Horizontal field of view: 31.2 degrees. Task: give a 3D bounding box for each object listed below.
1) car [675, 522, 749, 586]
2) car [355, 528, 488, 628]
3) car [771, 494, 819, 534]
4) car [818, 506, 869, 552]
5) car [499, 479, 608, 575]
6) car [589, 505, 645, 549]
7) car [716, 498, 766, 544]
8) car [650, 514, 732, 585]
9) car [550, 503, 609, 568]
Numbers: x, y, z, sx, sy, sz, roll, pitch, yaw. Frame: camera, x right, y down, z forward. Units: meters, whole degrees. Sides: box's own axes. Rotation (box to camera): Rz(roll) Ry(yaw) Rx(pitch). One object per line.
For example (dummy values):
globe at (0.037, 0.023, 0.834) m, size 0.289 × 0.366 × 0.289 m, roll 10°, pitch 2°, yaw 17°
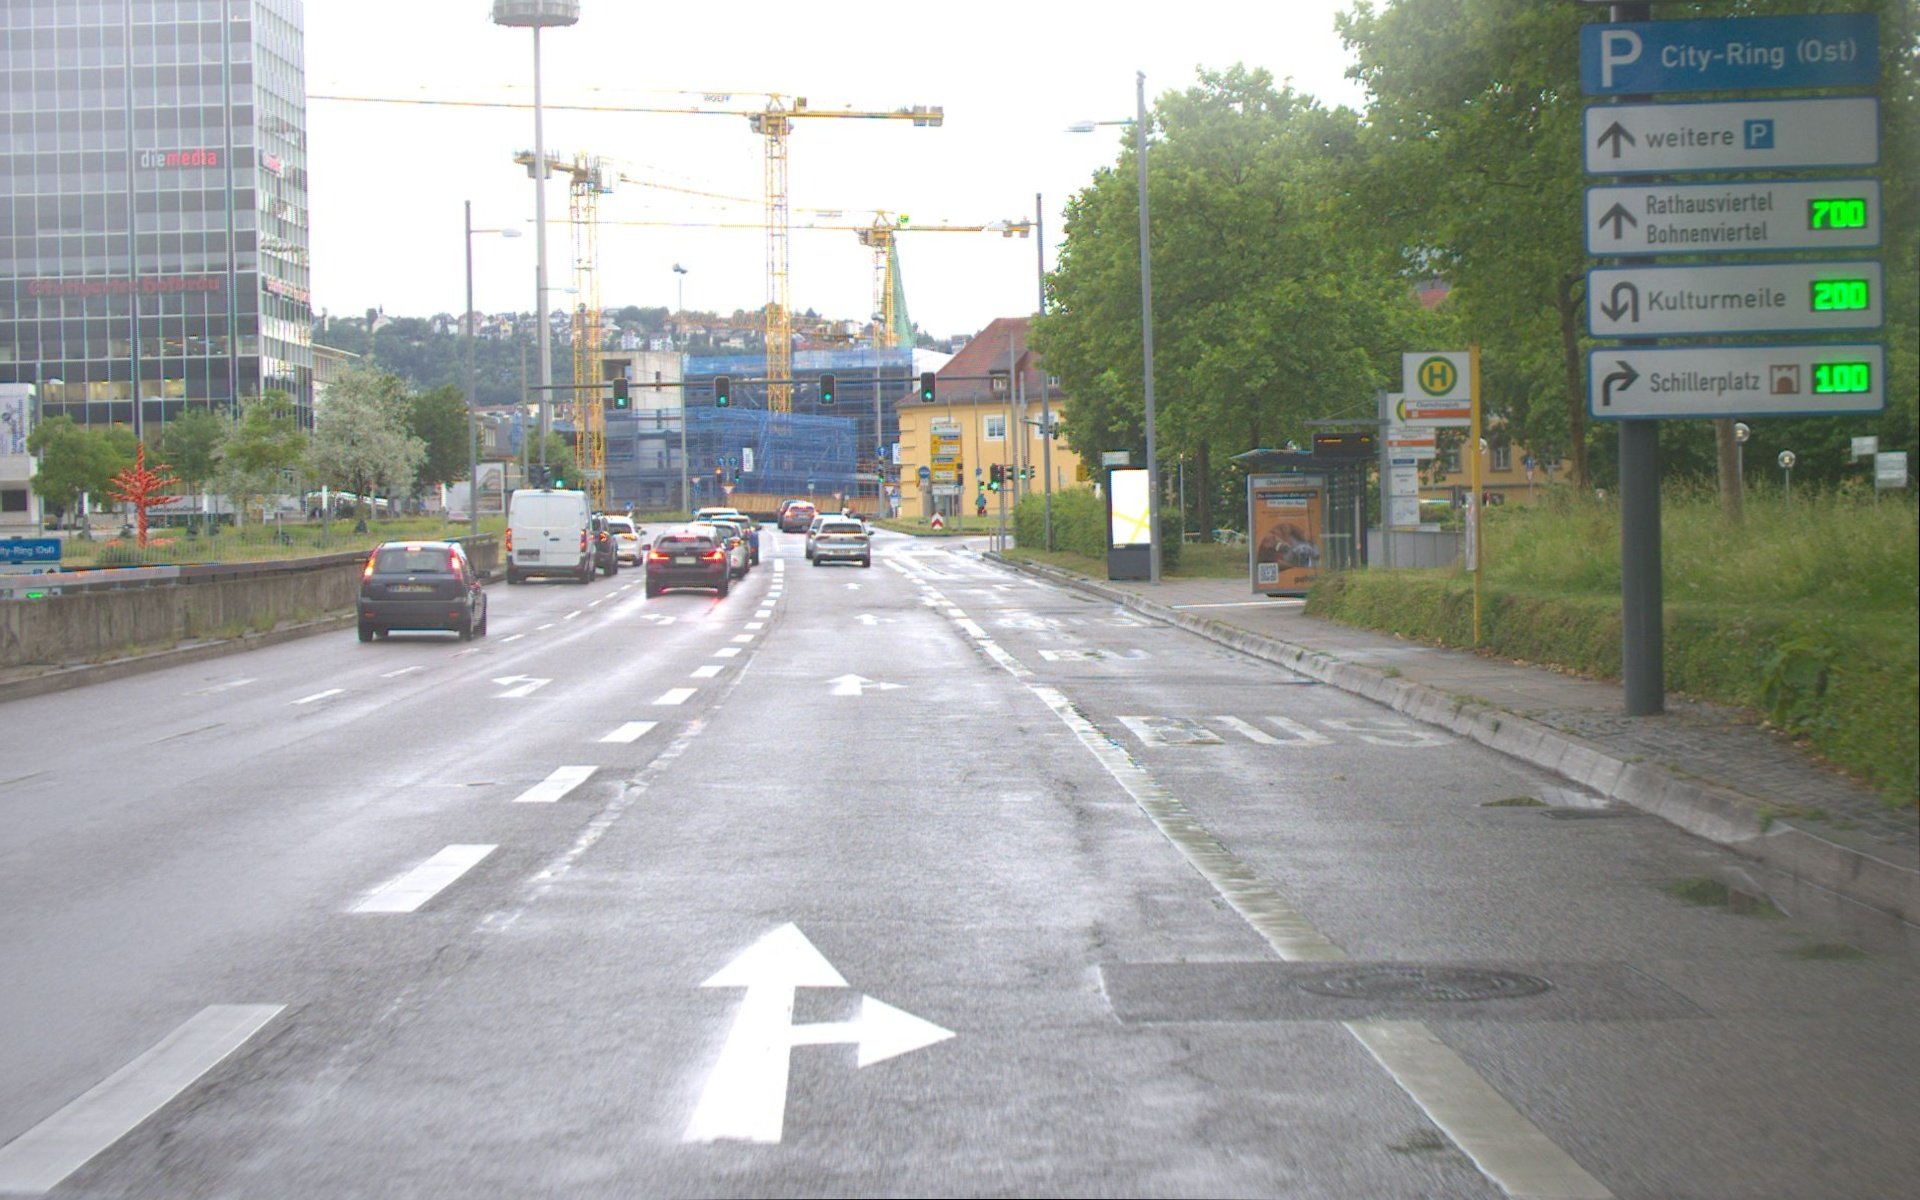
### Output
car at (-6.582, -1.197, 90.958) m, size 1.880 × 1.647 × 3.458 m, roll 0°, pitch 0°, yaw -5°
car at (-7.899, -0.326, 50.696) m, size 1.542 × 1.410 × 3.902 m, roll 0°, pitch 0°, yaw -3°
car at (-8.195, -4.272, 171.228) m, size 2.161 × 1.873 × 3.770 m, roll 0°, pitch 0°, yaw 1°
car at (-3.530, -2.146, 104.472) m, size 1.444 × 1.354 × 2.412 m, roll 0°, pitch 0°, yaw 1°
car at (-10.081, -1.783, 85.629) m, size 2.292 × 2.306 × 5.006 m, roll 0°, pitch 0°, yaw -2°
car at (-10.330, -2.192, 103.628) m, size 1.551 × 1.256 × 2.581 m, roll 0°, pitch 0°, yaw -3°
car at (-6.733, -2.424, 105.988) m, size 1.493 × 1.365 × 3.034 m, roll 0°, pitch 0°, yaw -3°
car at (-5.948, -1.141, 76.305) m, size 1.753 × 1.466 × 4.223 m, roll 0°, pitch 2°, yaw -4°
car at (-10.228, -1.719, 92.552) m, size 1.464 × 1.700 × 3.142 m, roll 0°, pitch 0°, yaw -5°
